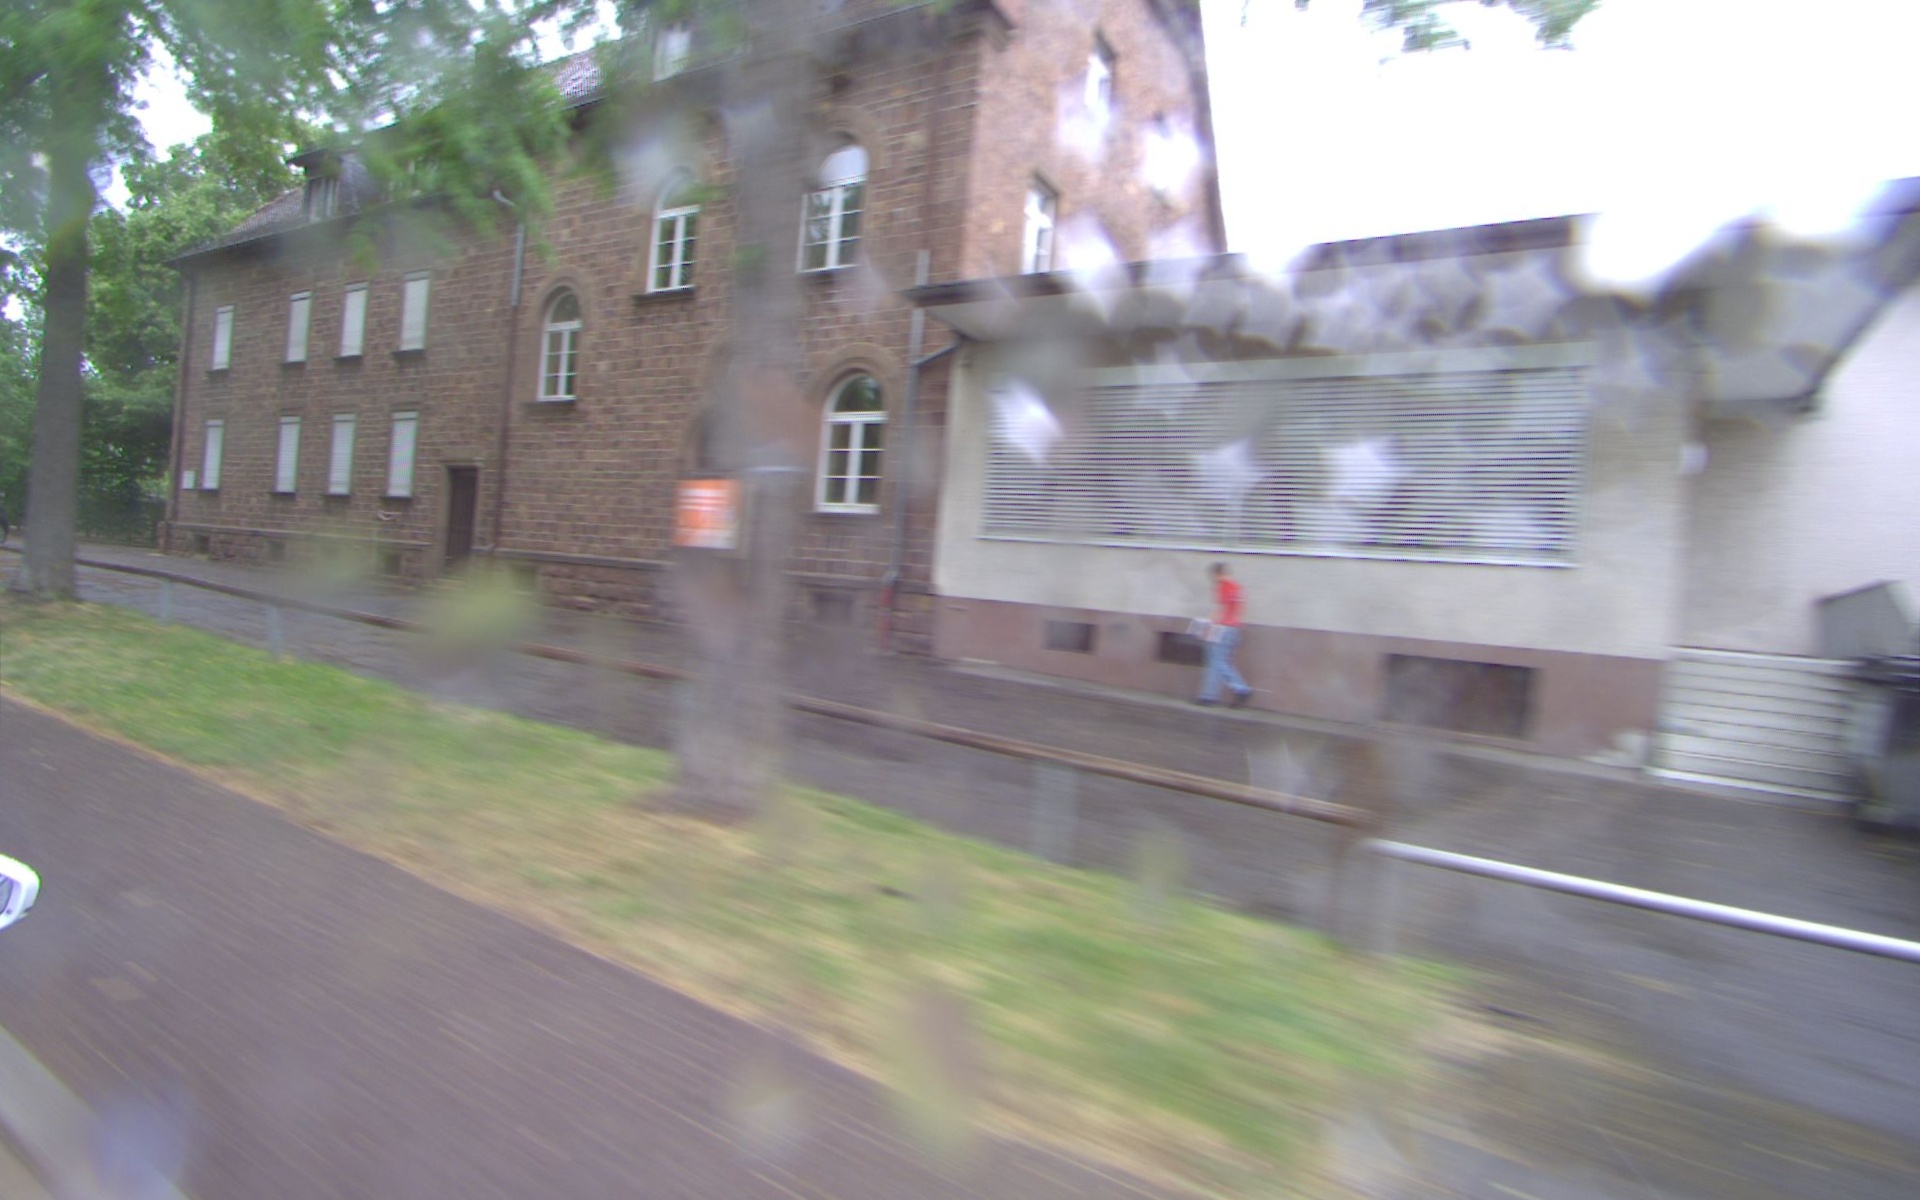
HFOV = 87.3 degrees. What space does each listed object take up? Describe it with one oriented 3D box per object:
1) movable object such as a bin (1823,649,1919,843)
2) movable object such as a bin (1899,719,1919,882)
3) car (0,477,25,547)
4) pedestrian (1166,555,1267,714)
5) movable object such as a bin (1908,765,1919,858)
[{"bbox_3d":[7.530,1.138,7.928,0.782,1.362,1.148,7,4,31],"label":"movable object such as a bin"},{"bbox_3d":[6.417,1.113,6.002,0.782,1.456,1.234,6,4,30],"label":"movable object such as a bin"},{"bbox_3d":[-22.742,-2.127,21.823,1.593,1.570,3.611,6,0,-4],"label":"car"},{"bbox_3d":[3.071,0.404,12.072,0.852,1.777,0.535,8,3,32],"label":"pedestrian"},{"bbox_3d":[7.020,1.299,6.904,0.521,1.095,0.566,7,4,30],"label":"movable object such as a bin"}]
